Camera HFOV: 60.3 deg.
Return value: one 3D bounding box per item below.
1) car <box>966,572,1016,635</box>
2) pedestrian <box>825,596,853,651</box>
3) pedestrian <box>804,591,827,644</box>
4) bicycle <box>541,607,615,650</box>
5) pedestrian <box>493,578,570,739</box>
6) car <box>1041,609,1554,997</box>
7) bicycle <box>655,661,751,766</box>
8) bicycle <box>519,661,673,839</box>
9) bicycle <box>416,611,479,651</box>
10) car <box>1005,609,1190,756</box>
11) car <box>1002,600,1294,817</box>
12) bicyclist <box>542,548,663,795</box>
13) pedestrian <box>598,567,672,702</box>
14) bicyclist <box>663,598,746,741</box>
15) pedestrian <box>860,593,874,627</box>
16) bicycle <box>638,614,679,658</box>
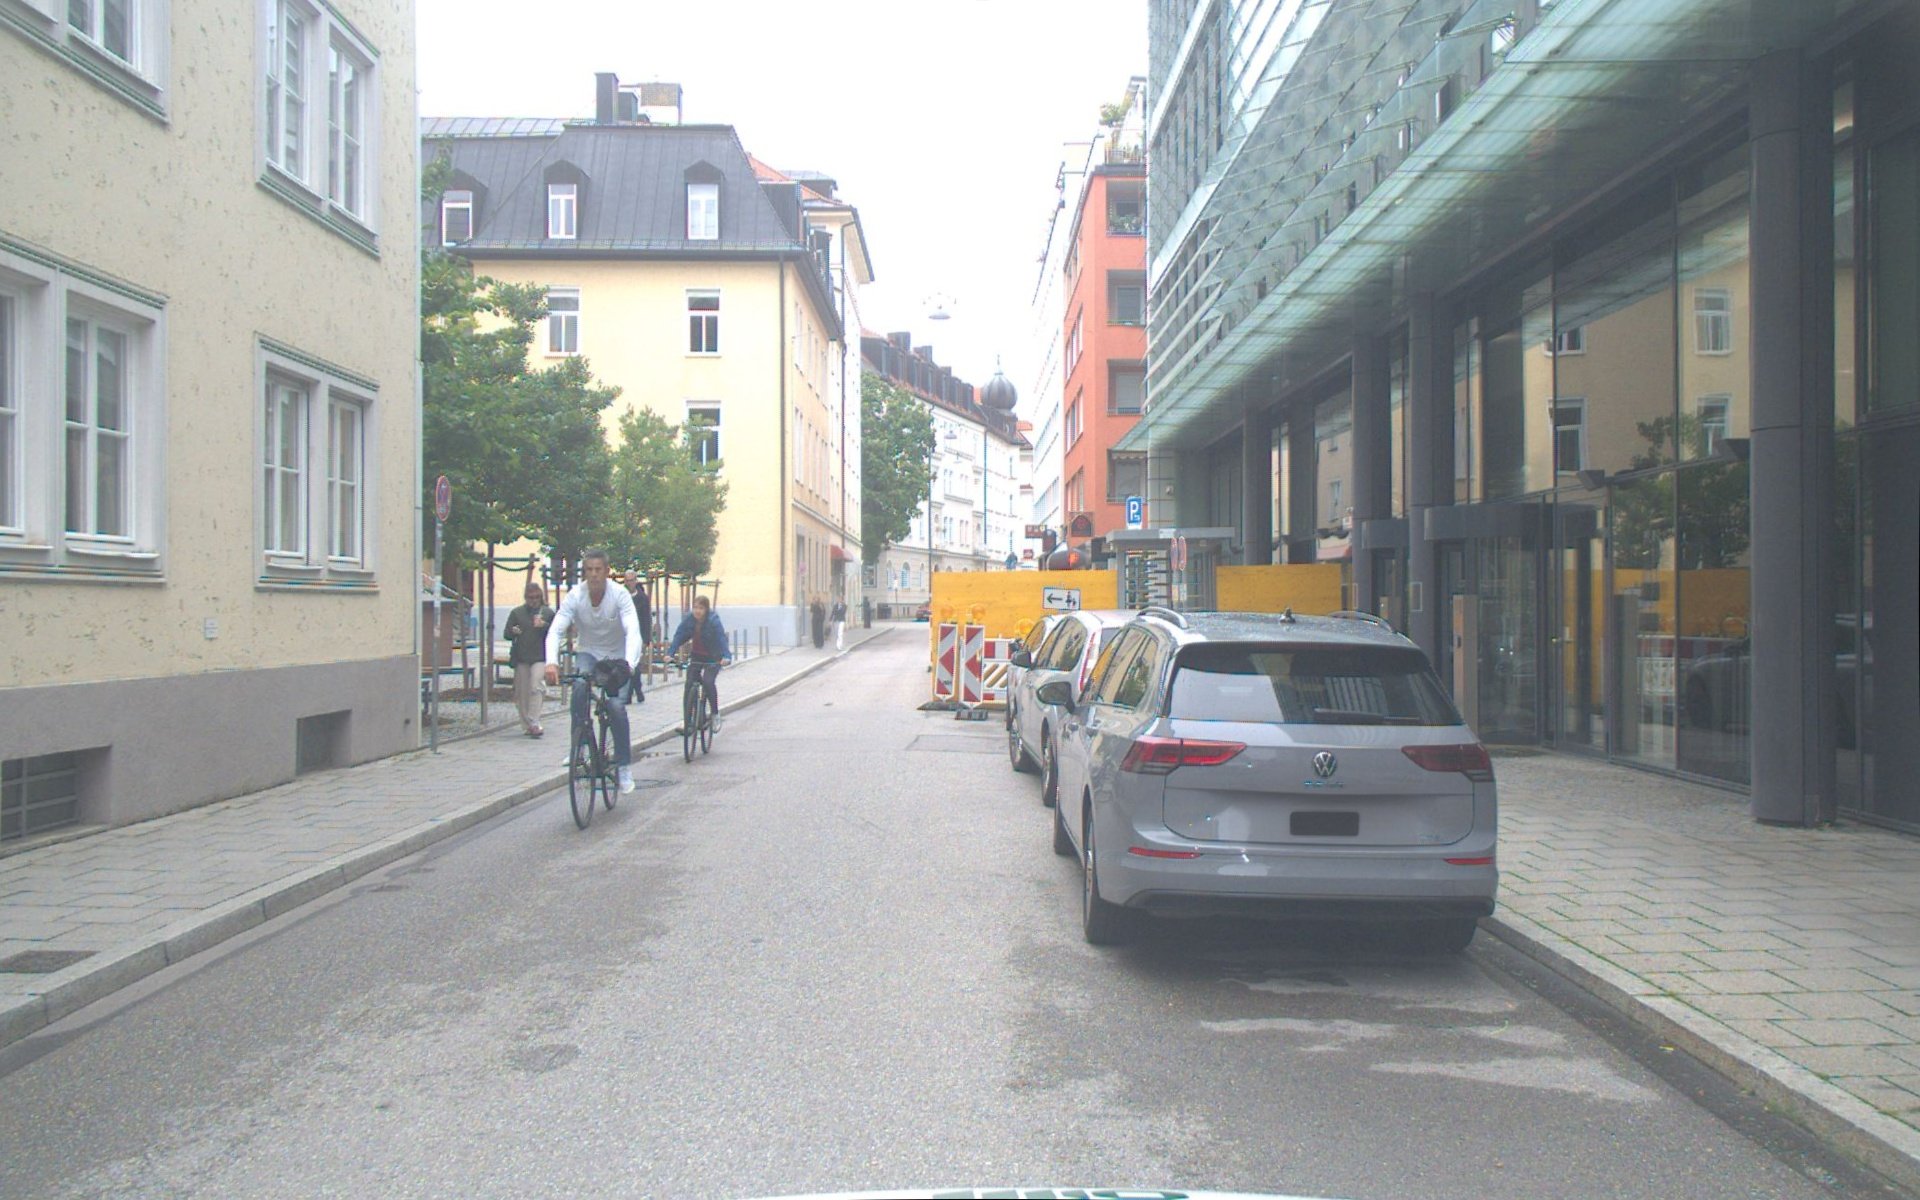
[{"bbox_3d":[1.281,0.139,71.015,1.953,2.581,4.974,1,0,-1],"label":"car"},{"bbox_3d":[-3.830,0.732,52.523,0.822,1.730,0.803,1,-1,-1],"label":"pedestrian"},{"bbox_3d":[-4.585,0.552,52.641,0.656,1.677,0.761,1,-1,-1],"label":"pedestrian"},{"bbox_3d":[-11.035,0.819,47.781,2.000,1.218,0.570,0,0,7],"label":"bicycle"},{"bbox_3d":[-4.647,0.623,17.969,0.634,1.706,0.723,1,-1,-1],"label":"pedestrian"},{"bbox_3d":[1.387,0.779,8.434,1.673,1.457,4.328,0,0,-1],"label":"car"},{"bbox_3d":[-2.556,1.113,16.614,0.693,0.921,1.809,-1,0,-1],"label":"bicycle"},{"bbox_3d":[-2.509,0.998,11.608,0.648,1.057,2.004,-1,0,-1],"label":"bicycle"},{"bbox_3d":[-14.704,0.886,47.468,1.621,1.088,0.598,1,0,3],"label":"bicycle"},{"bbox_3d":[1.446,0.848,18.888,1.673,1.439,4.509,1,-1,-1],"label":"car"},{"bbox_3d":[1.378,0.778,13.728,1.673,1.493,4.234,1,-1,-4],"label":"car"},{"bbox_3d":[-2.506,0.485,11.667,0.646,1.672,0.895,-1,0,-1],"label":"bicyclist"},{"bbox_3d":[-4.726,0.489,24.137,0.850,1.914,1.134,1,-1,-1],"label":"pedestrian"},{"bbox_3d":[-2.558,0.680,16.616,0.693,1.395,0.813,-1,0,-1],"label":"bicyclist"},{"bbox_3d":[-4.703,0.499,83.689,0.621,1.704,0.517,1,0,-1],"label":"pedestrian"},{"bbox_3d":[-8.380,0.981,45.992,0.499,1.164,2.054,1,0,8],"label":"bicycle"}]
